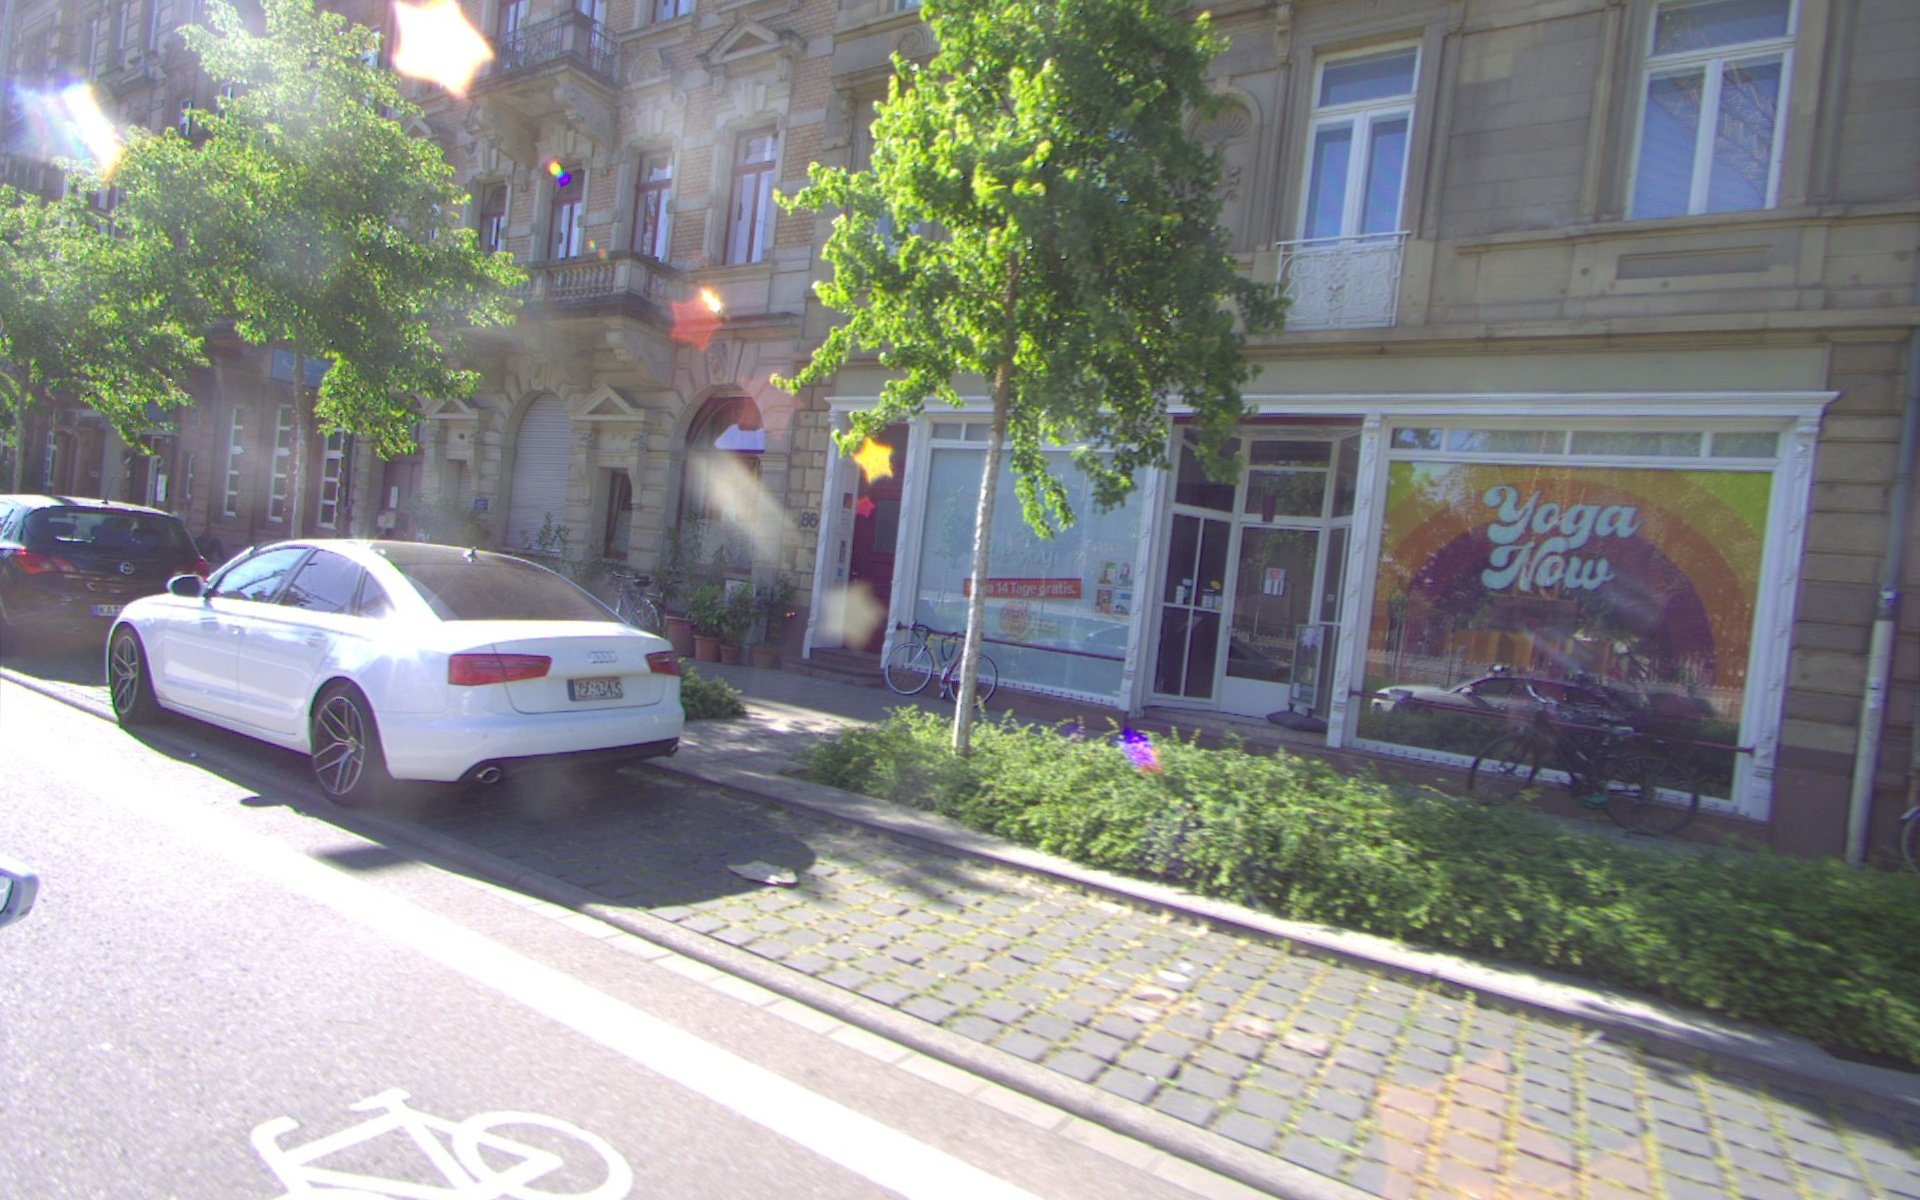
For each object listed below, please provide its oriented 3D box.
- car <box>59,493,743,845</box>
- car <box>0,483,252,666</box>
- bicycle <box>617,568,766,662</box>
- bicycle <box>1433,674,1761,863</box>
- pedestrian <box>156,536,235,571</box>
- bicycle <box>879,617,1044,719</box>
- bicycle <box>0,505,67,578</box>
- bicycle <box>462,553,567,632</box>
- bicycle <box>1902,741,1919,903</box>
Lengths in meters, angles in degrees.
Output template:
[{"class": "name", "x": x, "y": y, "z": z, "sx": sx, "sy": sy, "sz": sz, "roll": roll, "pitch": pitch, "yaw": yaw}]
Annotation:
[{"class": "car", "x": -4.092, "y": 0.234, "z": 7.031, "sx": 5.021, "sy": 1.515, "sz": 1.952, "roll": 7, "pitch": 2, "yaw": 32}, {"class": "car", "x": -9.593, "y": -0.370, "z": 10.678, "sx": 4.151, "sy": 1.590, "sz": 1.884, "roll": 6, "pitch": 2, "yaw": 32}, {"class": "bicycle", "x": -3.875, "y": 0.199, "z": 14.434, "sx": 2.162, "sy": 1.104, "sz": 0.721, "roll": 7, "pitch": 2, "yaw": 32}, {"class": "bicycle", "x": 5.296, "y": 1.348, "z": 8.559, "sx": 2.144, "sy": 1.120, "sz": 0.876, "roll": 7, "pitch": 3, "yaw": 29}, {"class": "pedestrian", "x": -17.762, "y": -1.080, "z": 23.356, "sx": 1.974, "sy": 0.560, "sz": 0.774, "roll": 7, "pitch": 1, "yaw": 32}, {"class": "bicycle", "x": -0.006, "y": 0.804, "z": 12.260, "sx": 1.979, "sy": 0.956, "sz": 0.448, "roll": 7, "pitch": 0, "yaw": 32}, {"class": "bicycle", "x": -16.647, "y": -1.063, "z": 17.673, "sx": 2.134, "sy": 1.134, "sz": 0.651, "roll": 6, "pitch": 2, "yaw": 26}, {"class": "bicycle", "x": -7.443, "y": -0.138, "z": 16.766, "sx": 2.023, "sy": 1.104, "sz": 0.481, "roll": 7, "pitch": 2, "yaw": 32}, {"class": "bicycle", "x": 7.740, "y": 1.652, "z": 6.808, "sx": 1.771, "sy": 1.216, "sz": 0.748, "roll": 6, "pitch": 1, "yaw": 32}]
